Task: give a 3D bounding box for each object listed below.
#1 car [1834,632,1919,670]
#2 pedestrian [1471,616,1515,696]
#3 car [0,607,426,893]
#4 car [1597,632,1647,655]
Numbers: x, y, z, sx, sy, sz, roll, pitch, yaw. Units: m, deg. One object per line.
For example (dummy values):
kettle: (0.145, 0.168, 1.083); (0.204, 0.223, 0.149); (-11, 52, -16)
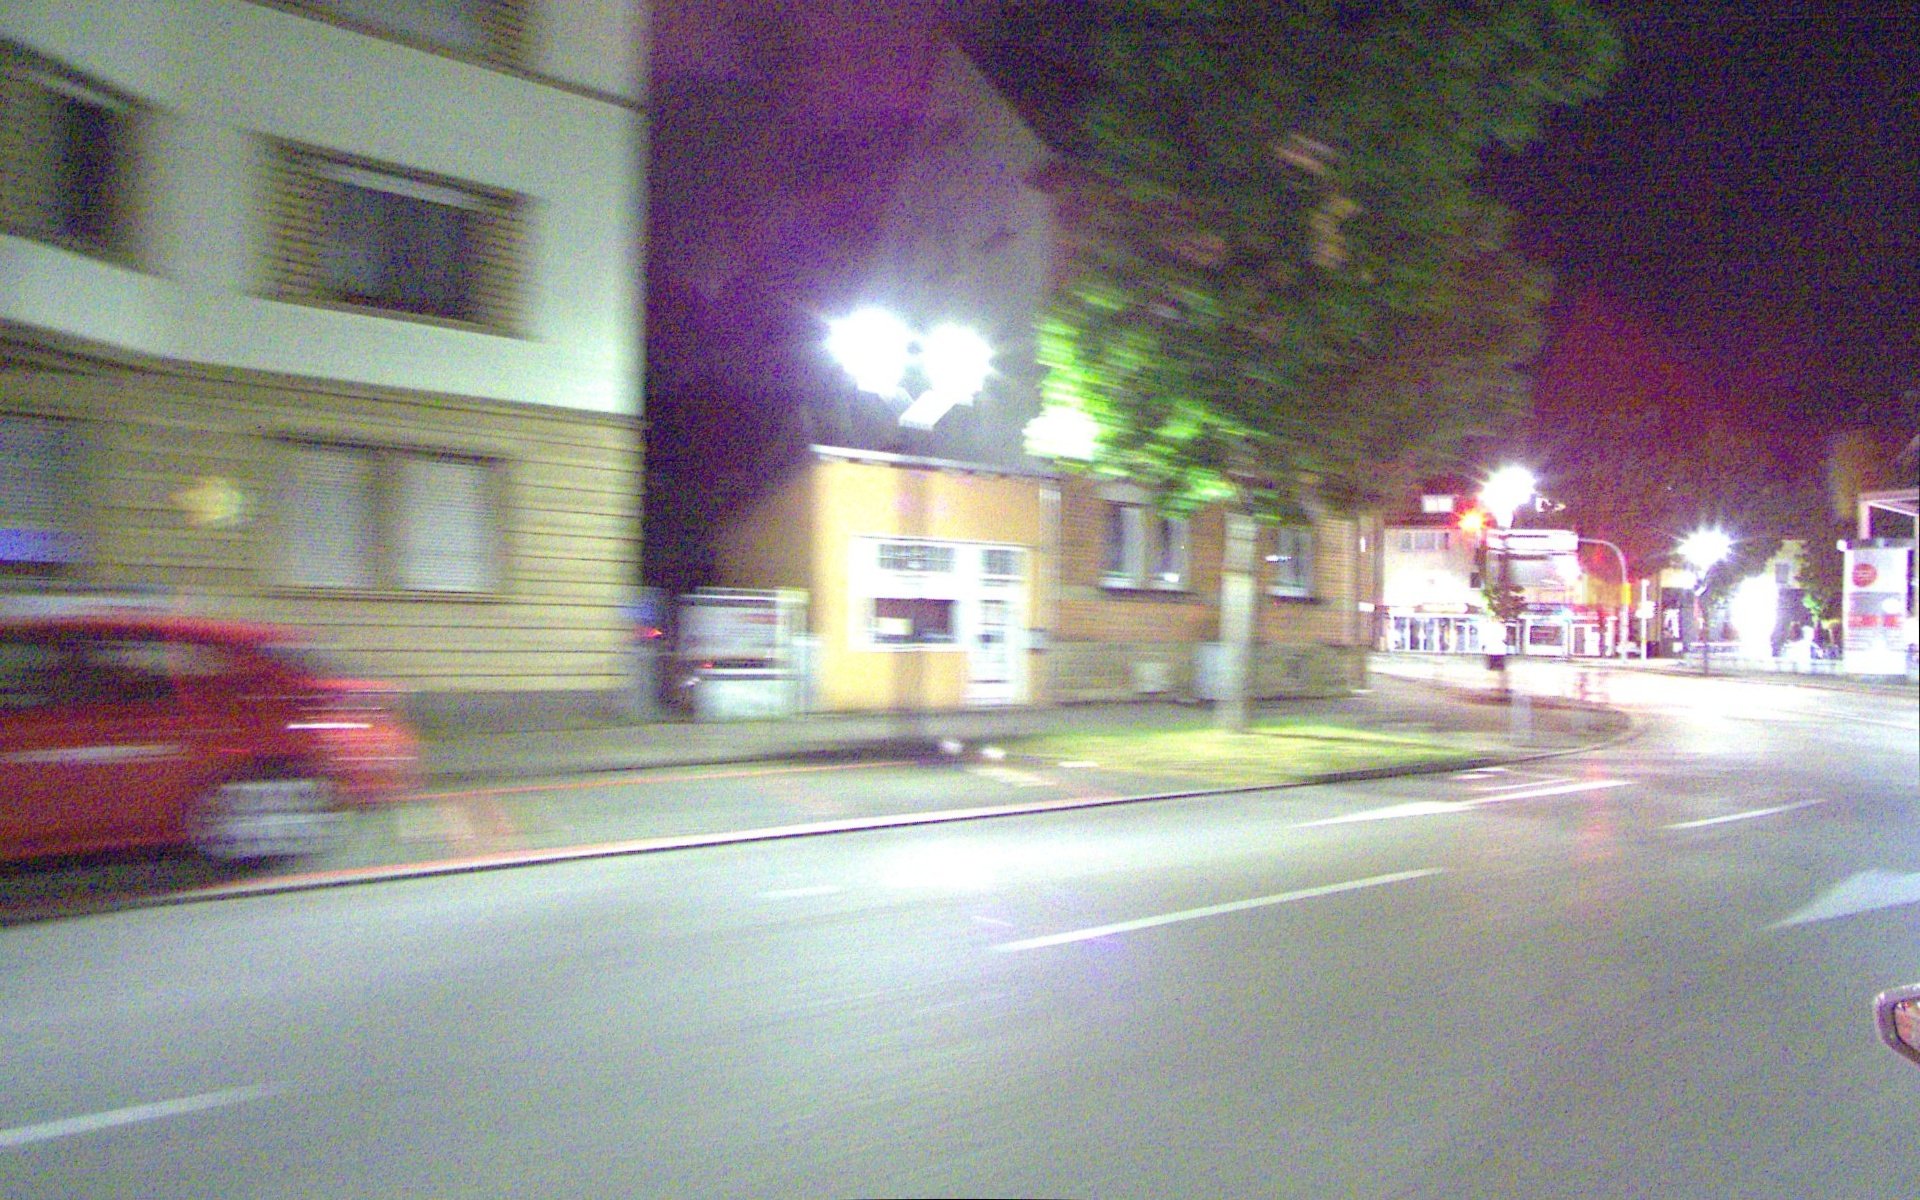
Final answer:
car: (41.462, 2.276, 45.431); (4.285, 1.595, 1.981); (2, -2, -35)
pedestrian: (12.721, 1.325, 23.993); (0.711, 1.846, 0.693); (2, -1, 13)
car: (-5.476, 0.775, 5.826); (4.081, 1.434, 1.774); (1, 0, -32)
car: (47.294, 3.079, 71.816); (1.960, 1.595, 3.656); (0, -2, 16)
